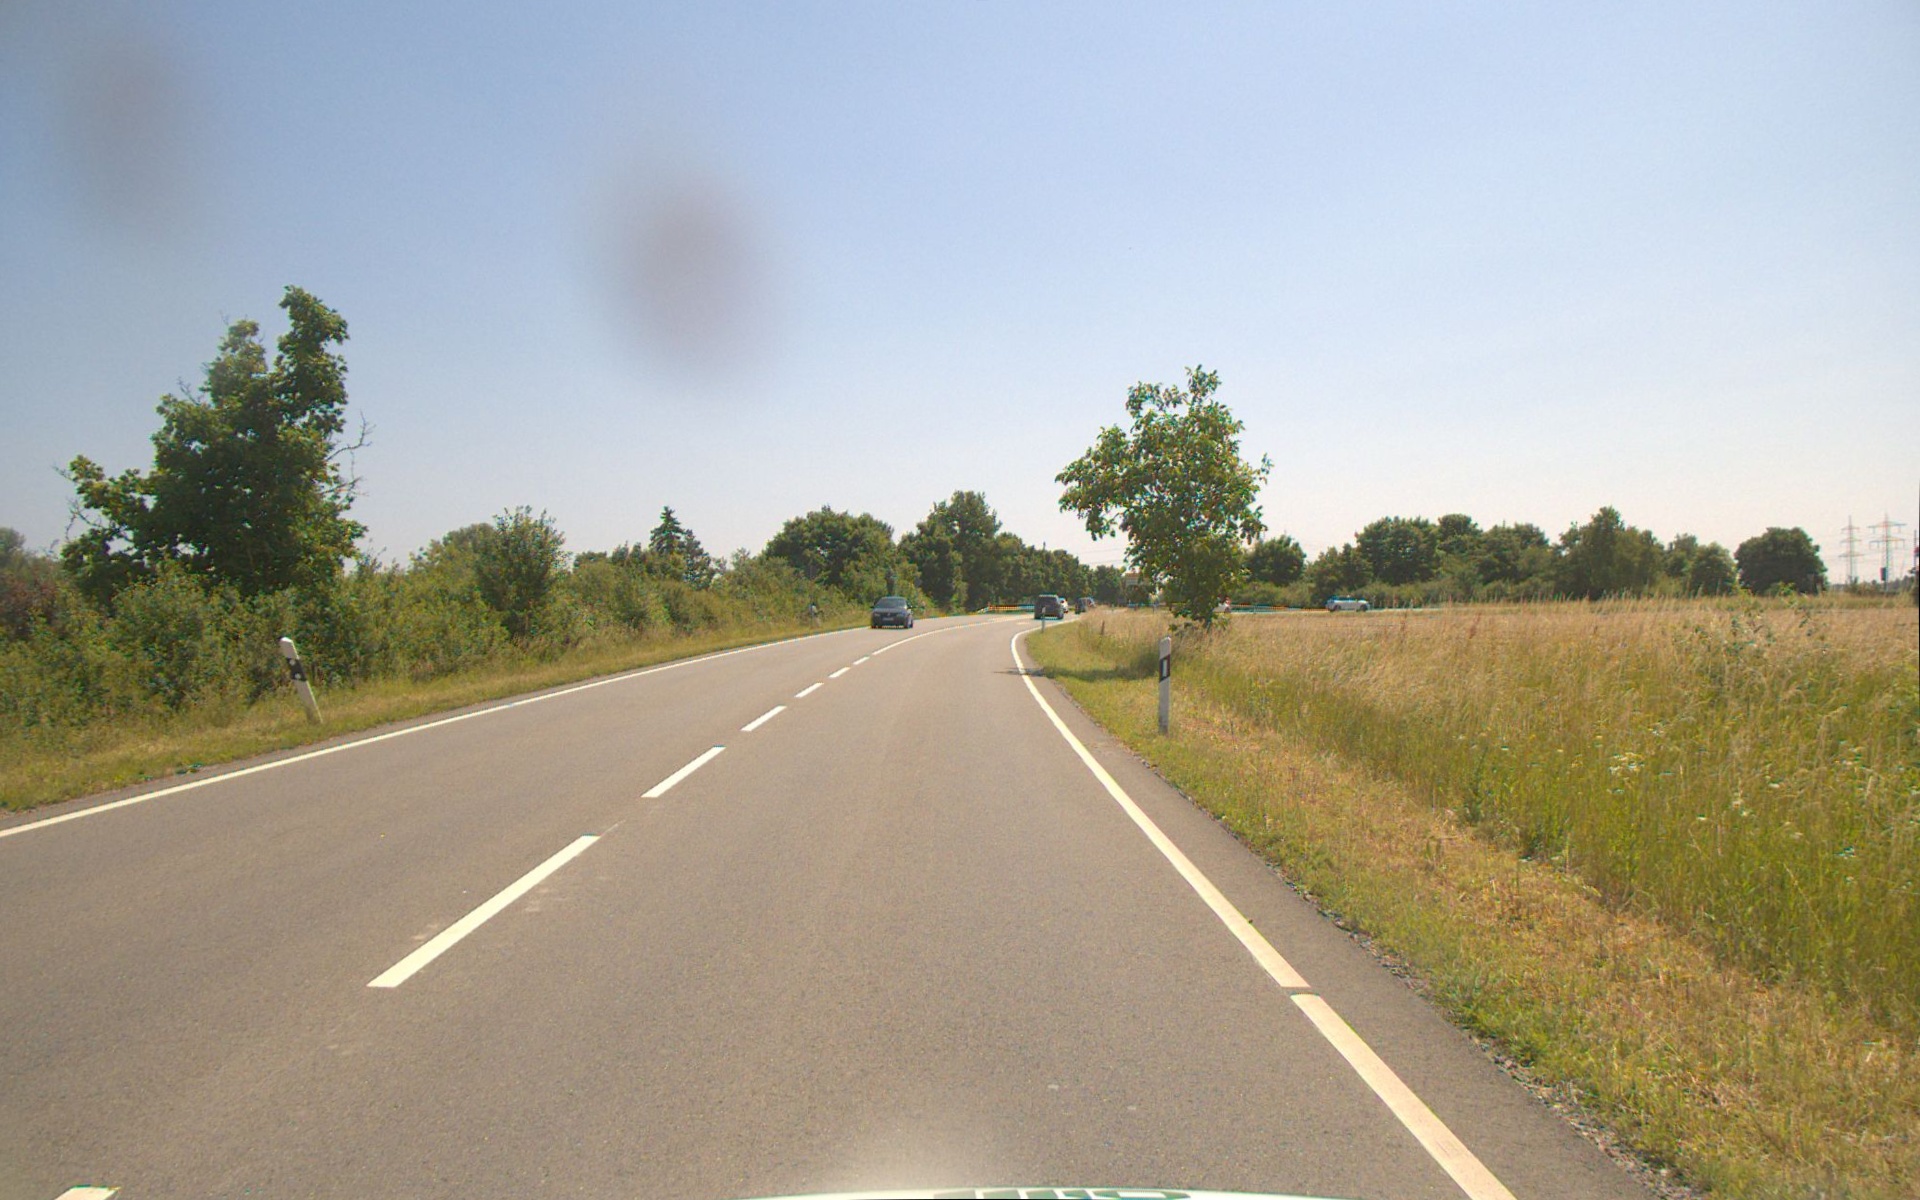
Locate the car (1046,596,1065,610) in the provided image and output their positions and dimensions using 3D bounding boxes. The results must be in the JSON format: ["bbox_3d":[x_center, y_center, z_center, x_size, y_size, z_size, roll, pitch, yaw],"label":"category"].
[{"bbox_3d":[9.697,0.304,167.790,1.797,1.443,4.718,1,0,5],"label":"car"}]

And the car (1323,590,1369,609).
[{"bbox_3d":[35.269,-0.027,151.130,3.905,1.652,1.644,-1,0,21],"label":"car"}]

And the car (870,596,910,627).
[{"bbox_3d":[-3.199,0.539,76.244,1.658,1.386,3.826,1,0,0],"label":"car"}]

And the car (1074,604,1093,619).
[{"bbox_3d":[11.370,1.072,152.153,1.609,1.364,4.042,1,0,7],"label":"car"}]

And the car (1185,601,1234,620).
[{"bbox_3d":[22.213,0.924,147.175,4.102,1.652,2.042,-1,0,-39],"label":"car"}]

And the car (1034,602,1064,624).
[{"bbox_3d":[6.288,0.906,116.870,1.844,1.544,4.042,1,0,7],"label":"car"}]
